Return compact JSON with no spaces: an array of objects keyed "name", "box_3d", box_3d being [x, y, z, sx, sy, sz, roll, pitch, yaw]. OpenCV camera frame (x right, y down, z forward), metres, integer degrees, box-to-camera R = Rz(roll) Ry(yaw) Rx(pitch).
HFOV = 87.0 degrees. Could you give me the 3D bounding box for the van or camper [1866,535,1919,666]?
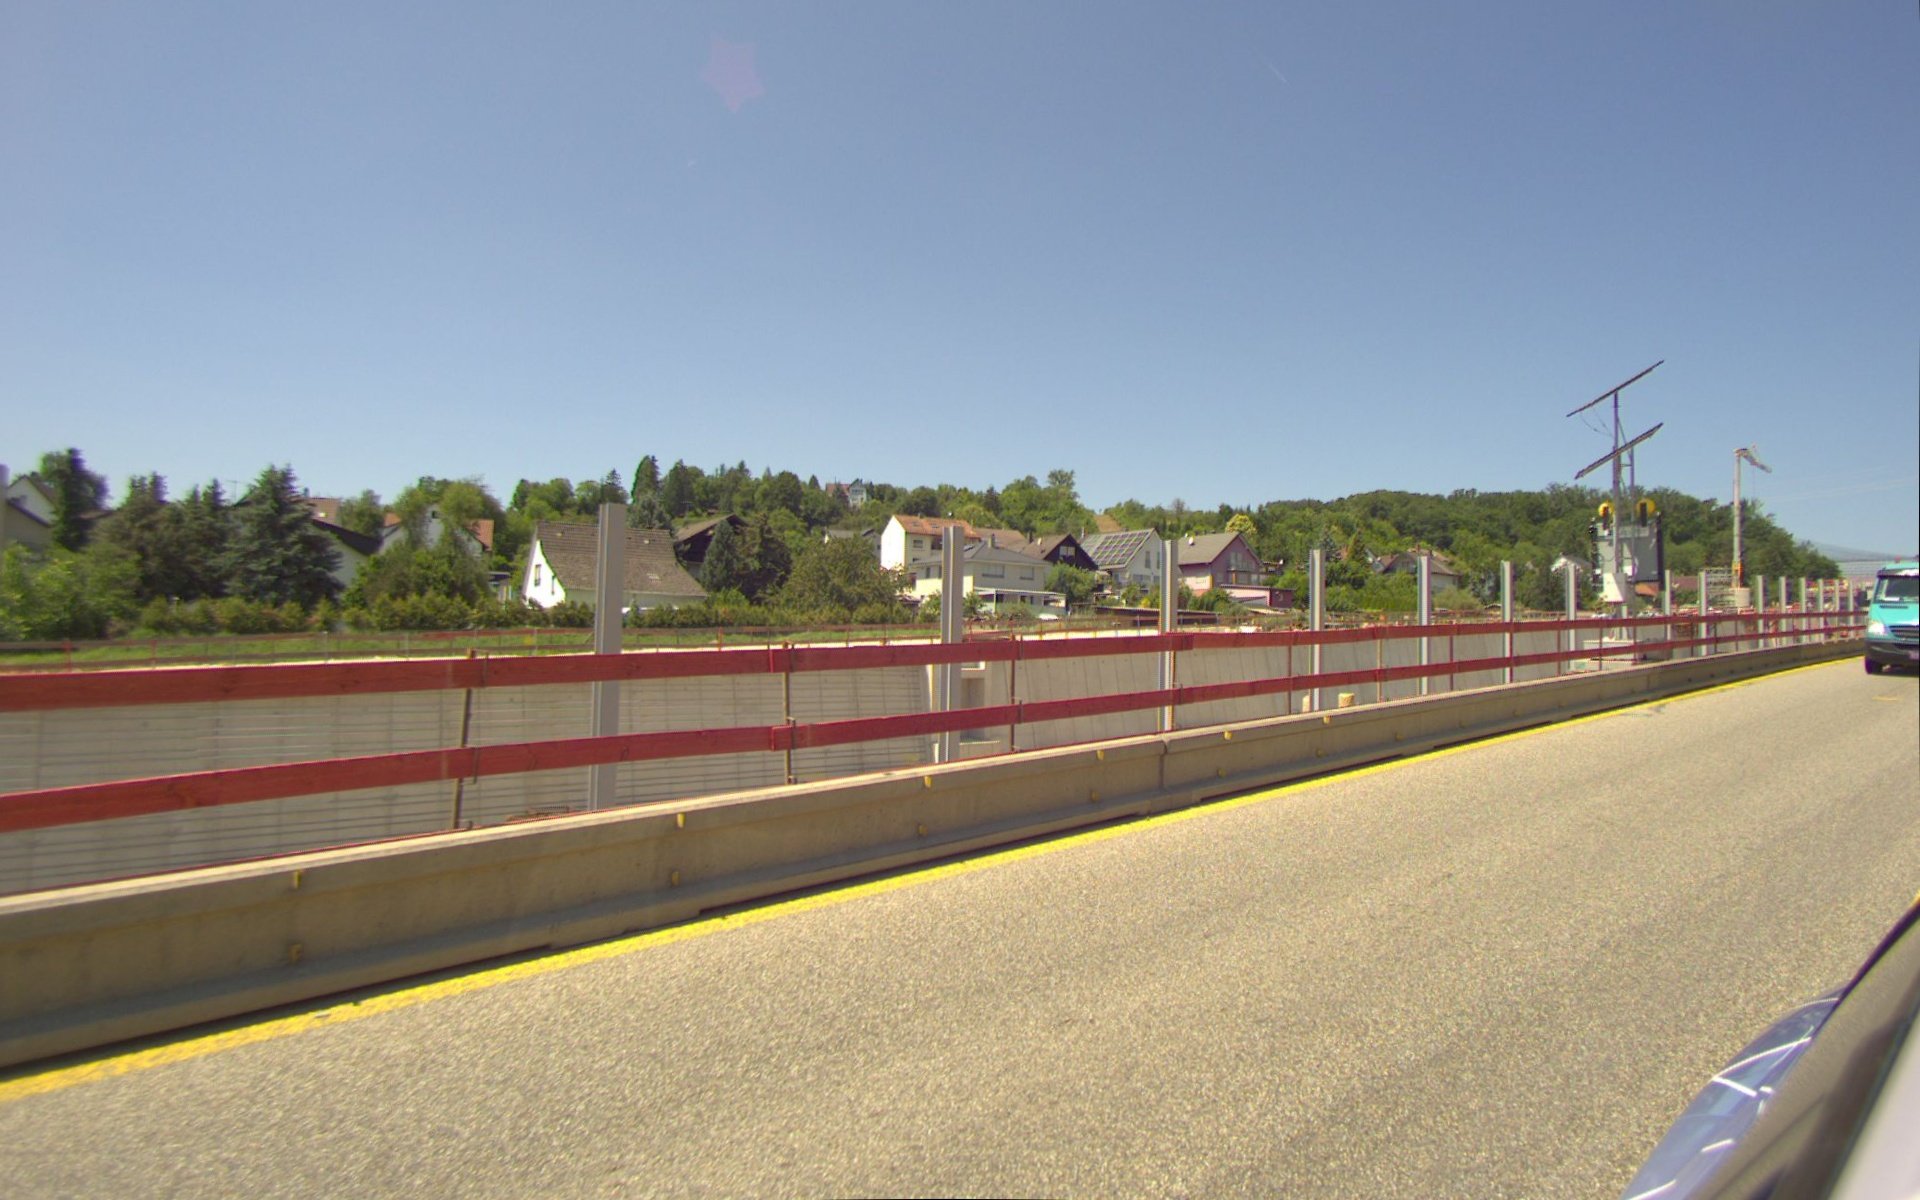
[{"name":"van or camper","box_3d":[21.299,0.042,21.529,7.536,2.504,2.096,1,-1,-41]}]
